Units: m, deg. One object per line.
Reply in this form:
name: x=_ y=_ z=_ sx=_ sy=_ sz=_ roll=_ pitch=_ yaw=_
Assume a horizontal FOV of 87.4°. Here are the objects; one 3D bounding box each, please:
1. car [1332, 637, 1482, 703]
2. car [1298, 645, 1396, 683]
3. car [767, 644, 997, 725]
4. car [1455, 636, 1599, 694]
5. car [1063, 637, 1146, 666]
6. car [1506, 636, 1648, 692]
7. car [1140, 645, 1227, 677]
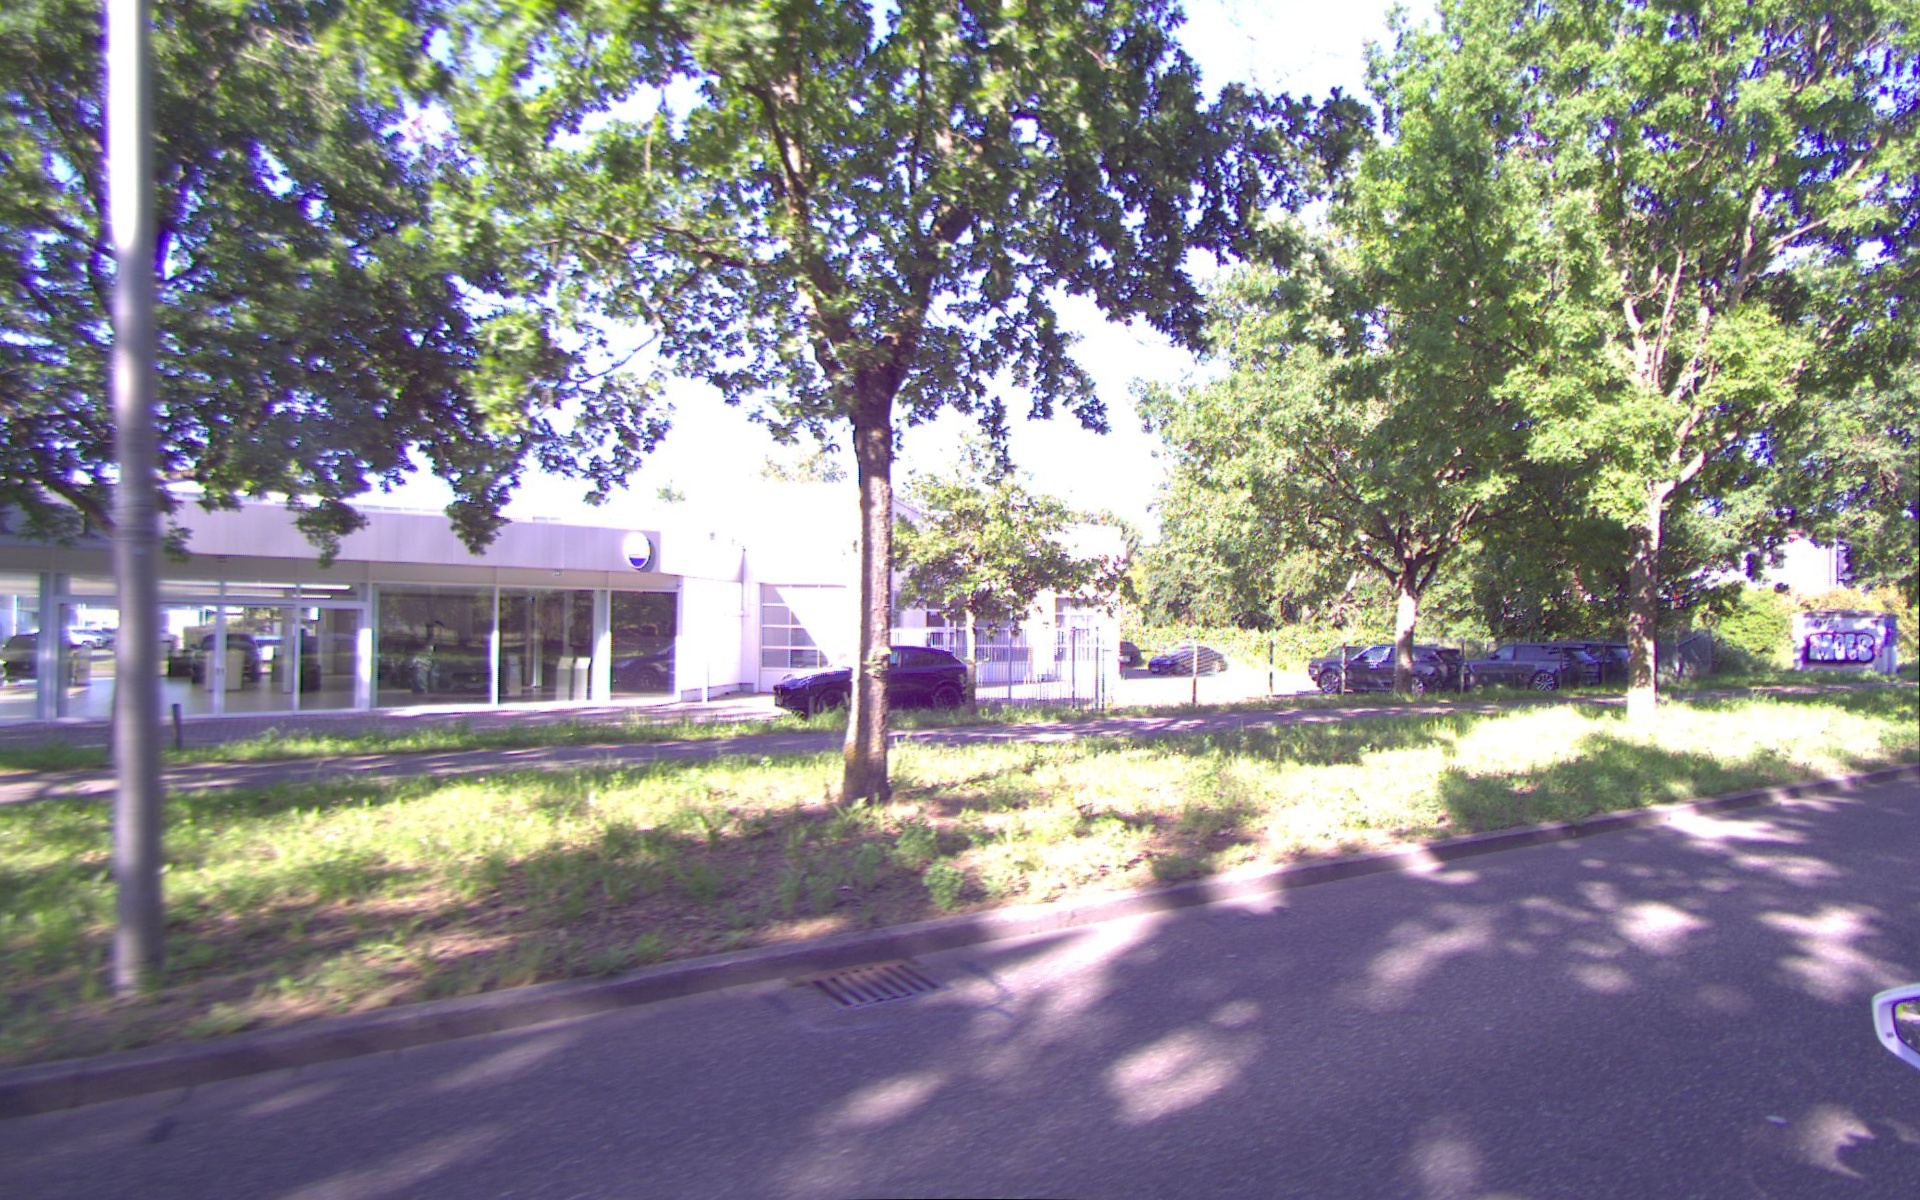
car: x=14.377 y=2.205 z=32.495 sx=1.981 sy=1.825 sz=3.959 roll=2 pitch=0 yaw=-36
car: x=18.272 y=2.977 z=47.333 sx=4.838 sy=1.587 sz=1.980 roll=2 pitch=0 yaw=-36
car: x=-1.768 y=1.877 z=23.362 sx=4.957 sy=1.619 sz=1.984 roll=2 pitch=0 yaw=-31
car: x=20.732 y=2.312 z=36.866 sx=1.980 sy=1.825 sz=4.163 roll=2 pitch=0 yaw=-34
car: x=8.760 y=3.095 z=60.787 sx=4.828 sy=1.587 sz=1.984 roll=2 pitch=0 yaw=-30
car: x=23.295 y=2.366 z=38.060 sx=1.980 sy=1.825 sz=4.163 roll=2 pitch=0 yaw=-34
car: x=12.335 y=3.315 z=55.389 sx=4.838 sy=1.587 sz=1.980 roll=2 pitch=0 yaw=-36
